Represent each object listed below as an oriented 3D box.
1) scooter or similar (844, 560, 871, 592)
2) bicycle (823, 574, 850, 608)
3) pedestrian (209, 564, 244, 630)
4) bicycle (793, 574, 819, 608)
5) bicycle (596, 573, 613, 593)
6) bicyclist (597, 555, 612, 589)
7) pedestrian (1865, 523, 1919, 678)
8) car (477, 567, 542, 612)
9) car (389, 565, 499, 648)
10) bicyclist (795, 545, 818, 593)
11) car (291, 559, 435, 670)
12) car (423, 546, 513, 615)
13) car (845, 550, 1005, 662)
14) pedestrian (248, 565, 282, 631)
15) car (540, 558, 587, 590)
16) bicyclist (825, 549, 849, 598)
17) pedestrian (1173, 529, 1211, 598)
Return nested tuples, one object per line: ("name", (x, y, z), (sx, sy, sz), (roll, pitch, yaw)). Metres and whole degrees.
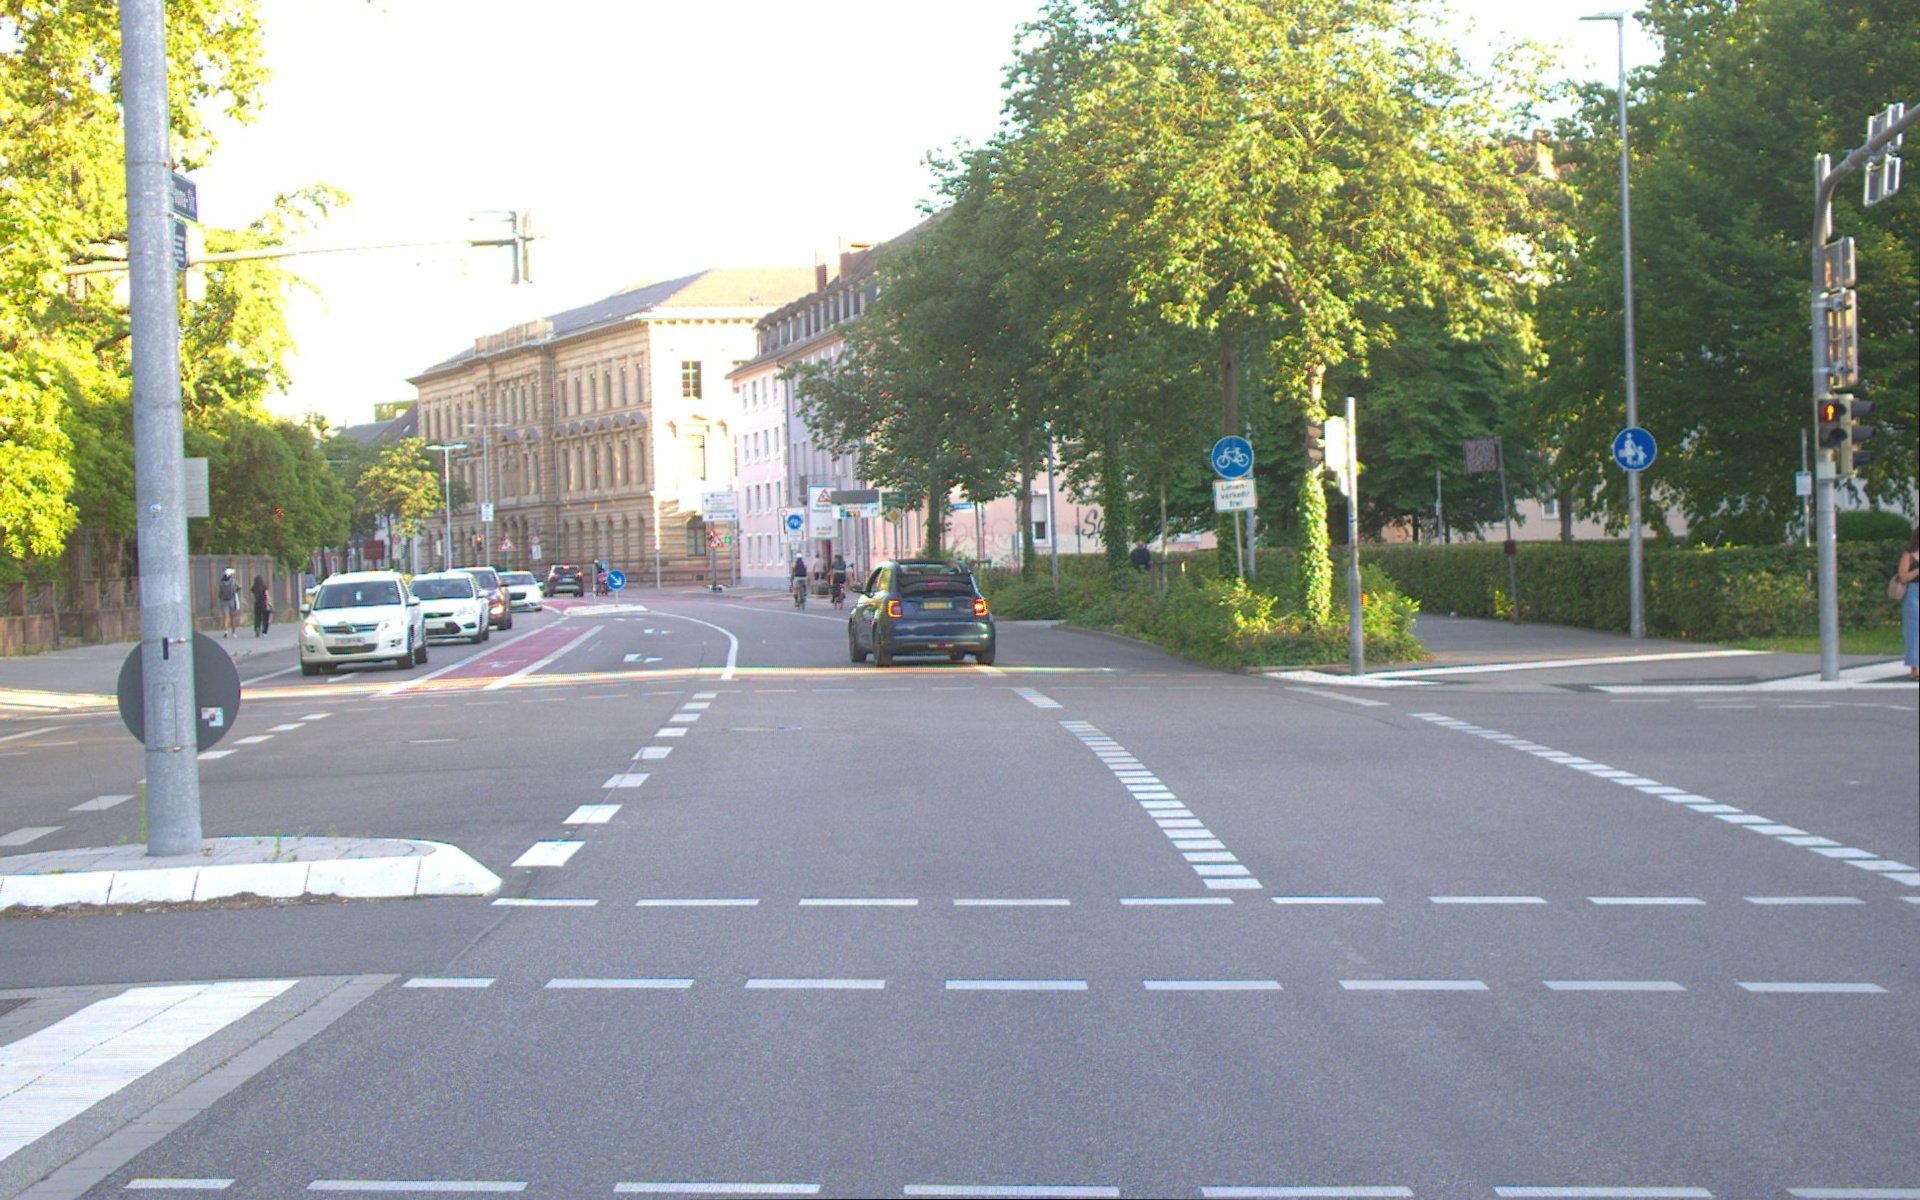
("scooter or similar", (-4.327, -0.999, 145.352), (0.629, 1.332, 2.401), (-1, 1, -14))
("bicycle", (-3.779, -0.272, 105.085), (0.652, 1.012, 2.198), (1, 1, -6))
("pedestrian", (-18.349, -0.069, 86.022), (0.681, 1.617, 0.688), (-2, 1, -1))
("bicycle", (-4.683, -0.291, 104.454), (0.652, 1.012, 2.198), (1, 1, -5))
("bicycle", (-17.951, -0.855, 173.434), (0.652, 1.012, 2.198), (1, 1, -10))
("bicyclist", (-17.932, -1.416, 173.369), (0.652, 1.692, 0.957), (1, 0, -10))
("pedestrian", (10.184, -0.006, 36.877), (0.681, 1.616, 0.845), (-2, 1, -1))
("car", (-15.642, -0.370, 119.512), (1.916, 1.413, 4.771), (-3, 1, -5))
("car", (-10.914, 0.099, 73.011), (1.916, 1.578, 4.675), (-3, 1, -5))
("bicyclist", (-4.659, -0.944, 104.354), (0.652, 1.441, 0.879), (1, 0, -5))
("car", (-10.095, 0.208, 58.382), (1.916, 1.690, 4.427), (-3, 1, -5))
("car", (-12.565, -0.520, 88.057), (1.916, 1.619, 4.640), (-3, 1, -5))
("car", (-0.547, 0.054, 49.582), (1.867, 1.504, 4.001), (-2, 1, -7))
("pedestrian", (-17.399, -0.056, 86.111), (0.681, 1.617, 0.688), (-2, 1, -1))
("car", (-19.621, -1.287, 170.044), (1.916, 1.413, 4.771), (-4, 1, -10))
("bicyclist", (-3.764, -0.808, 105.038), (0.652, 1.470, 0.941), (1, 0, -5))
("pedestrian", (5.947, -0.932, 88.074), (0.769, 1.733, 0.807), (-2, 1, -10))
